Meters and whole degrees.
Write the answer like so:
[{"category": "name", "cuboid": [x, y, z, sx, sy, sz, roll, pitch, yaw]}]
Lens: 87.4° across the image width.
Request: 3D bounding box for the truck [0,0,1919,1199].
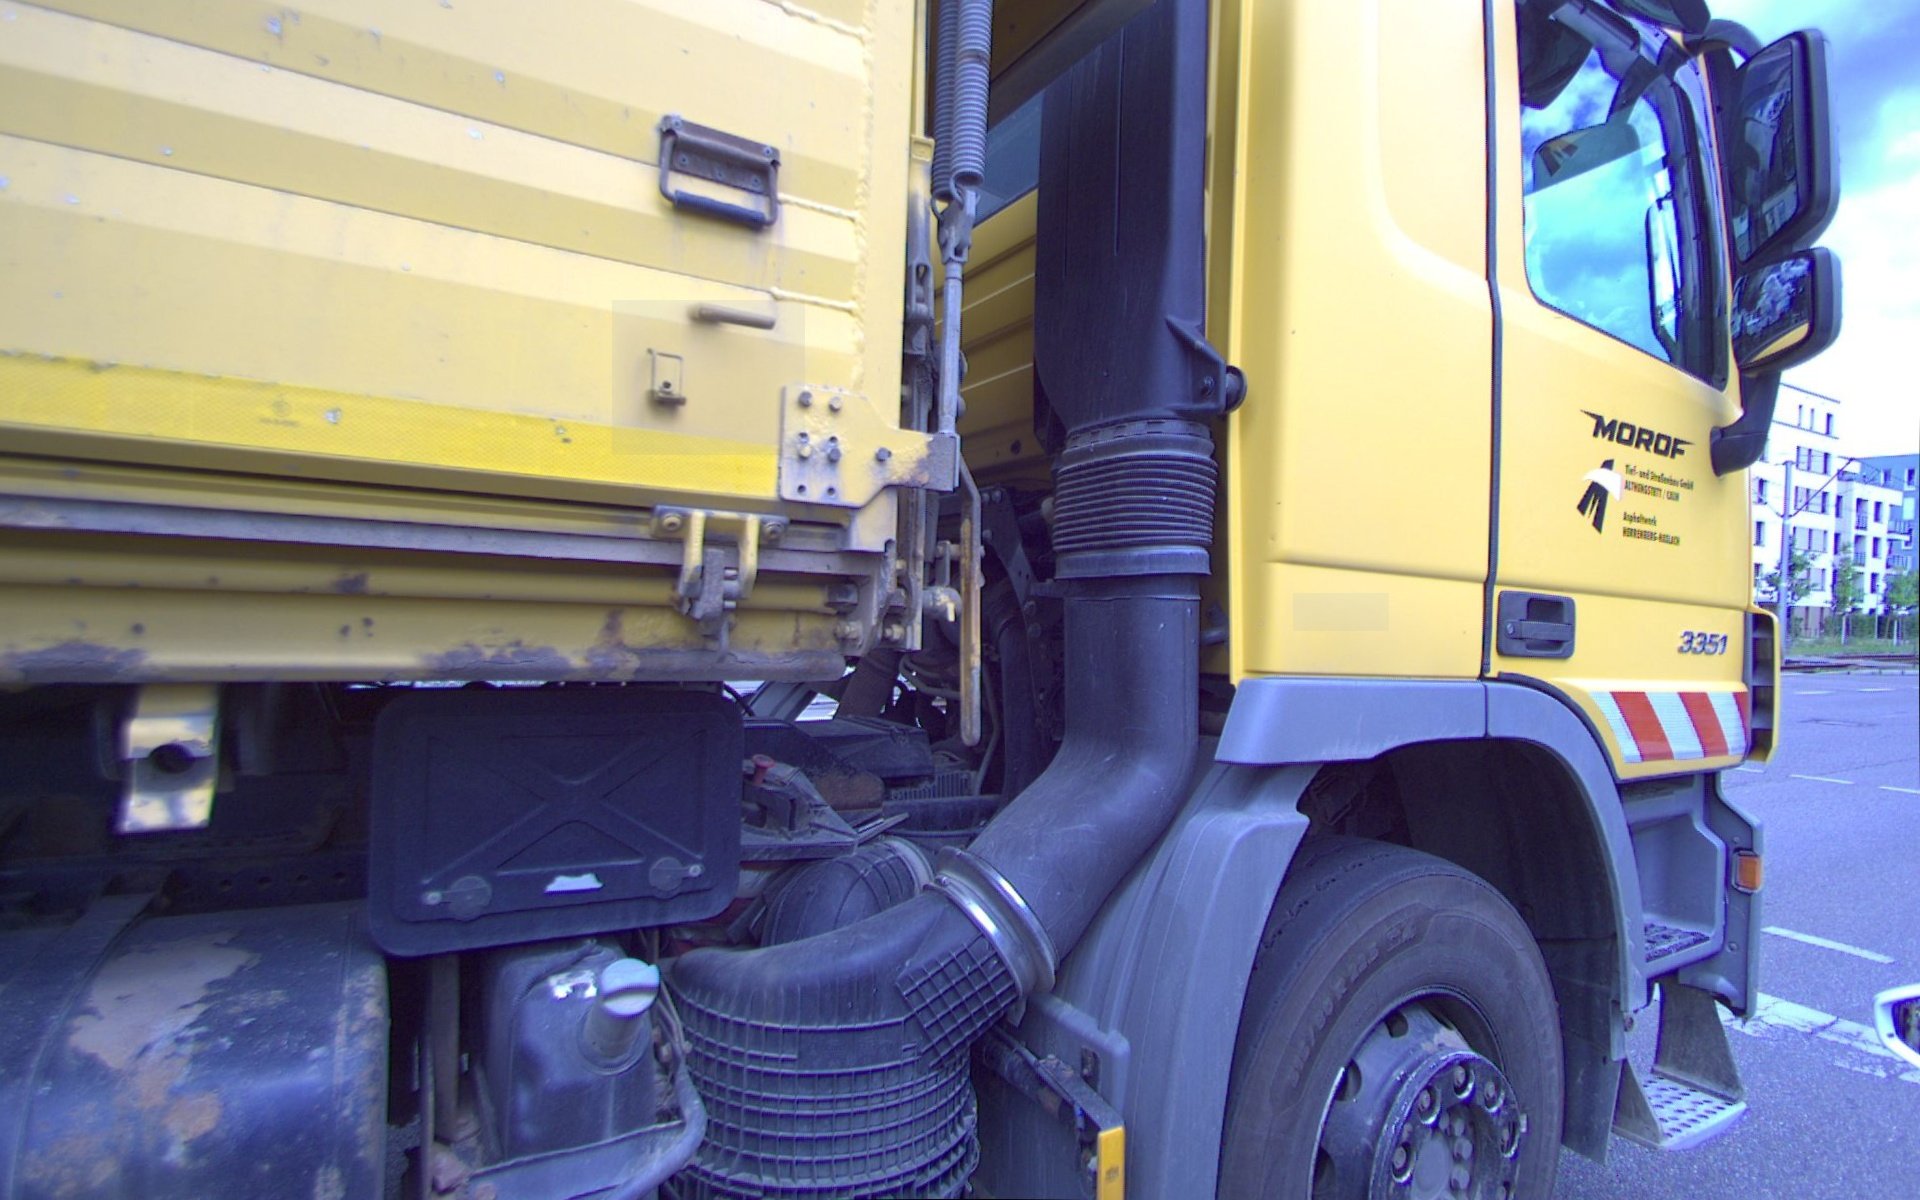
[{"category": "truck", "cuboid": [-1.705, -0.119, 1.524, 7.688, 3.043, 2.707, 2, 0, -30]}]
